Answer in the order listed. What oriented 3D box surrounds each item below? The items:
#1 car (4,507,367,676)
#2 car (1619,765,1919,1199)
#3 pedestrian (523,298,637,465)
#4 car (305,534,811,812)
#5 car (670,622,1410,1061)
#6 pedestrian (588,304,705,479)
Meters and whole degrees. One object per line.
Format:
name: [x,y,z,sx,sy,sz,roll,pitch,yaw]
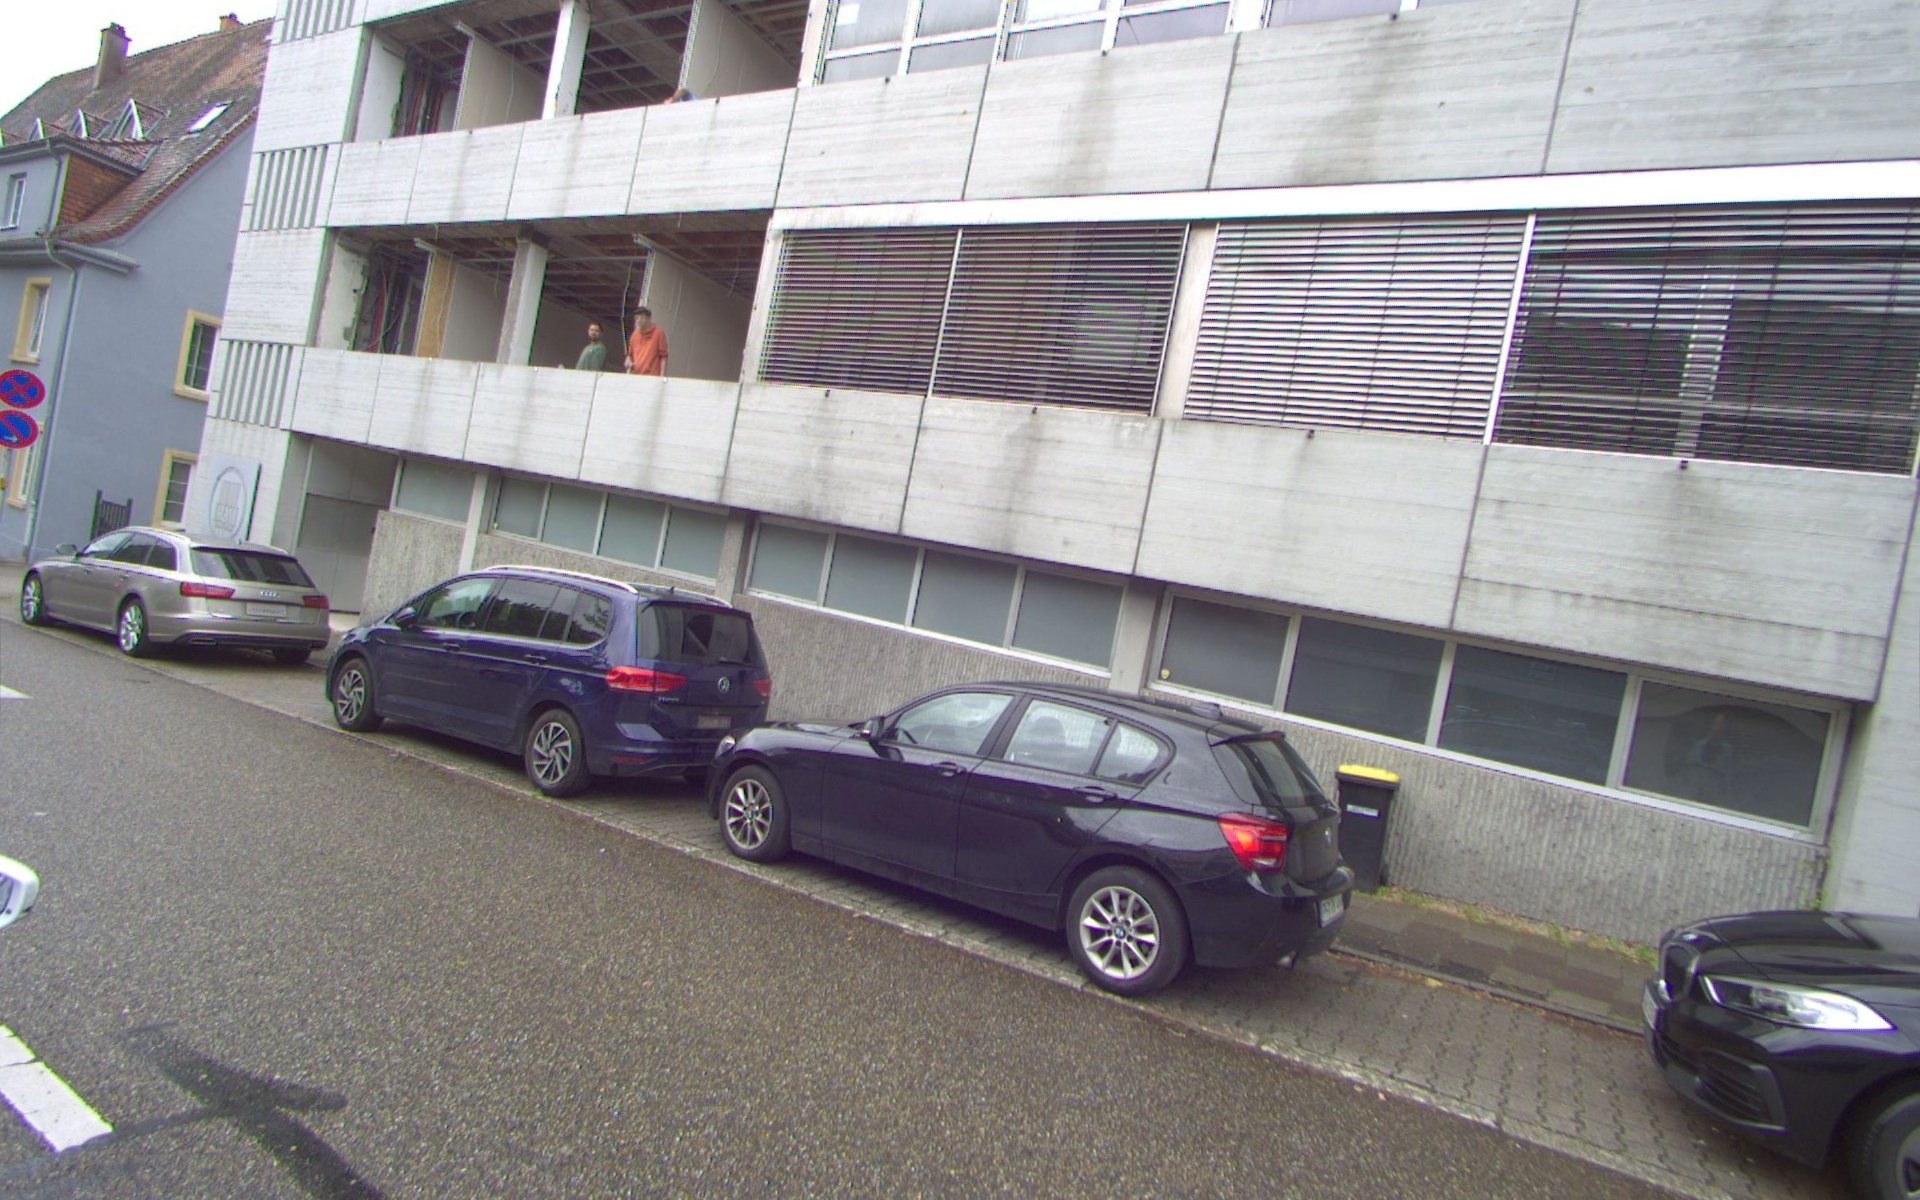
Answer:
car: [-9.805,-0.127,12.672,4.449,1.465,1.967,7,-1,30]
car: [5.086,1.778,3.530,4.367,1.452,1.997,7,0,30]
pedestrian: [-5.261,-2.987,13.960,0.847,2.036,0.909,6,-2,31]
car: [-3.525,0.512,8.648,4.090,1.618,1.732,7,-1,30]
car: [0.335,1.164,6.307,4.183,1.465,1.750,7,-1,34]
pedestrian: [-4.124,-2.711,13.265,0.847,2.036,0.909,6,-2,31]
